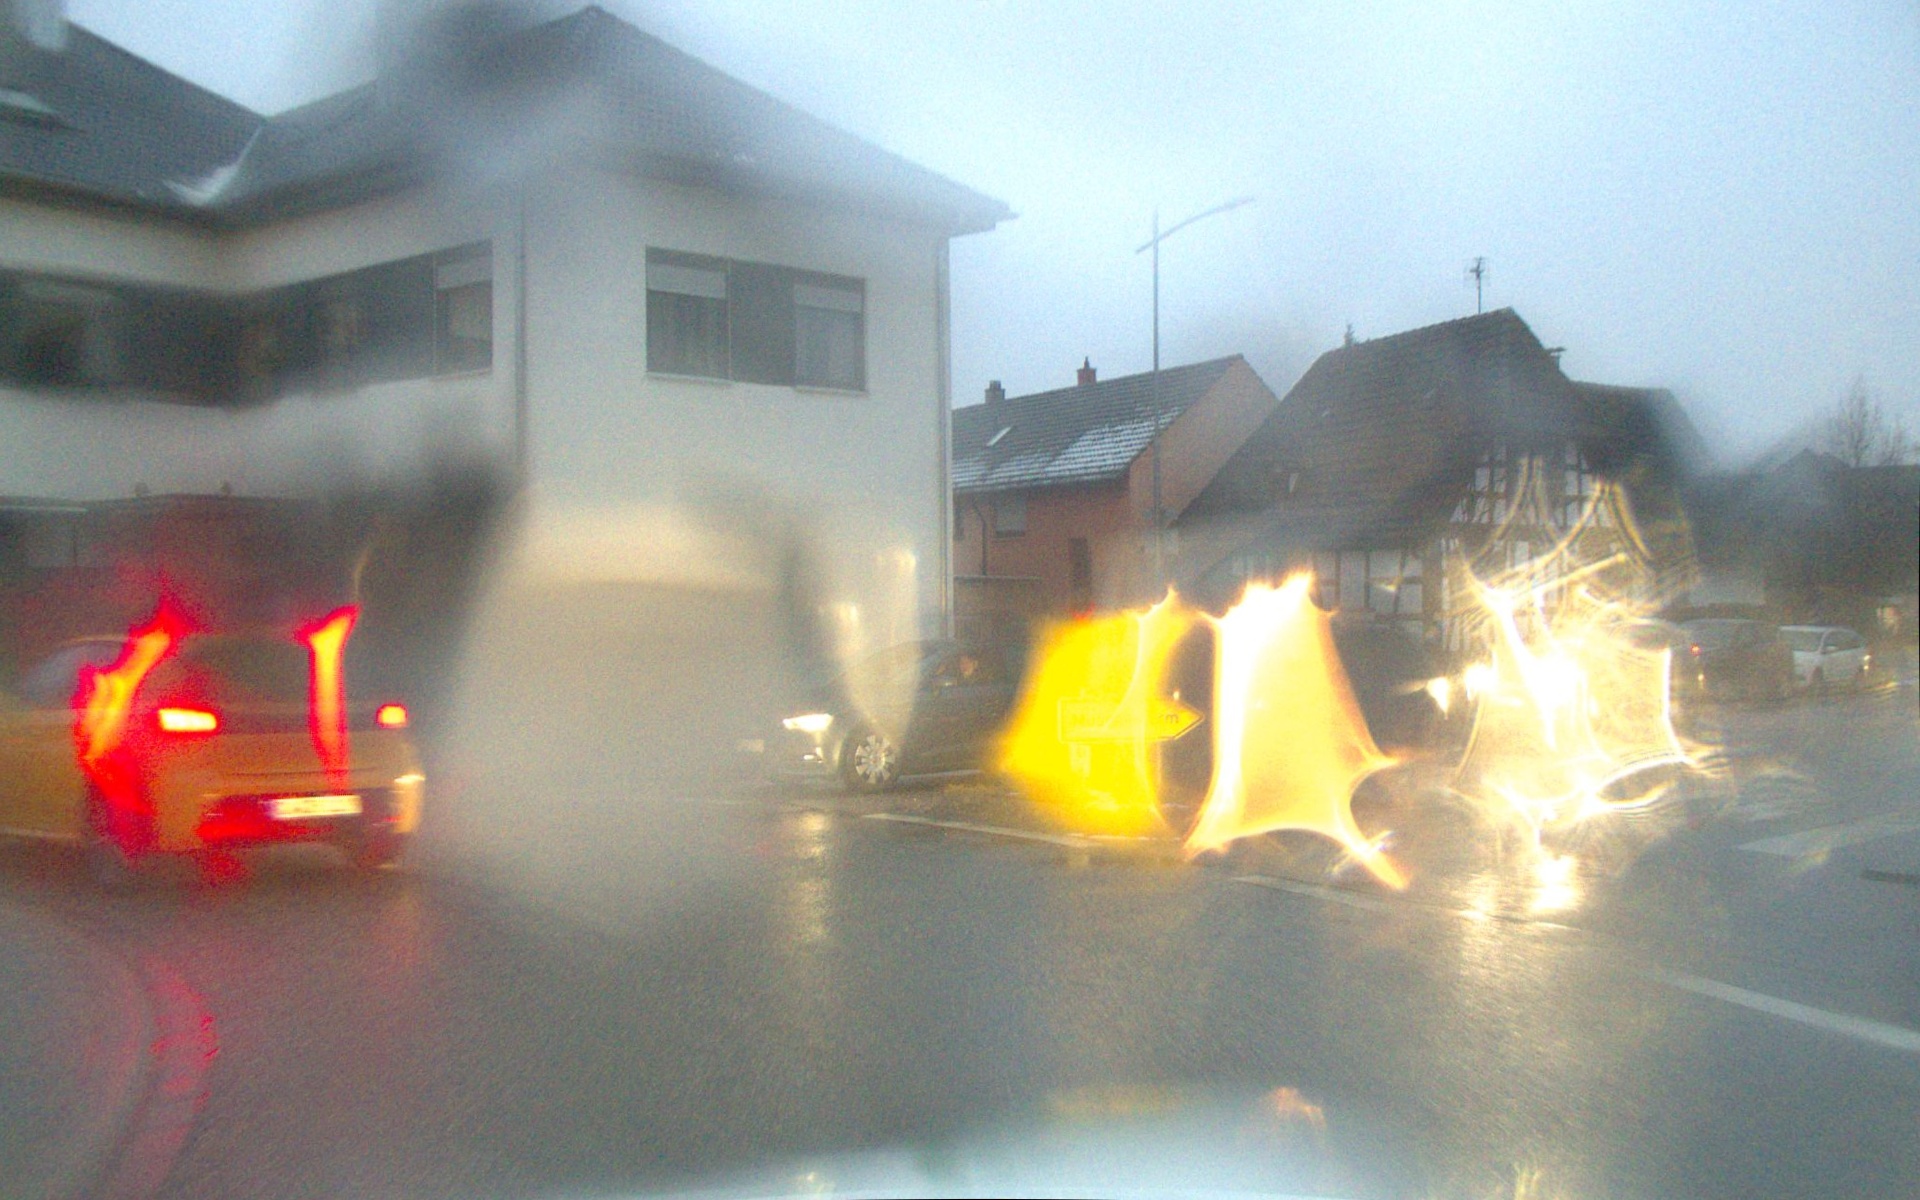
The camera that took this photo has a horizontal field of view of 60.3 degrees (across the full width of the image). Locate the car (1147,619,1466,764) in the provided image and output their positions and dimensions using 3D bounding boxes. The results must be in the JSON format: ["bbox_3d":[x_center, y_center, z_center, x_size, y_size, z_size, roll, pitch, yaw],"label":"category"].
[{"bbox_3d":[4.223,1.031,19.897,3.961,1.579,1.673,1,-2,-39],"label":"car"}]

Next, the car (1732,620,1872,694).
[{"bbox_3d":[19.193,1.257,37.639,3.685,1.577,1.648,0,0,-42],"label":"car"}]

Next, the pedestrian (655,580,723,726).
[{"bbox_3d":[-3.558,0.686,21.712,0.707,1.864,0.632,1,1,-28],"label":"pedestrian"}]

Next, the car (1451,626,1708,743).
[{"bbox_3d":[9.096,1.168,24.143,4.218,1.534,1.672,0,-2,-40],"label":"car"}]

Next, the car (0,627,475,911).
[{"bbox_3d":[-4.890,0.912,10.410,3.940,1.447,1.705,-1,-2,41],"label":"car"}]

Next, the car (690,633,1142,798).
[{"bbox_3d":[-0.368,1.064,16.312,4.189,1.408,1.826,1,-3,-37],"label":"car"}]

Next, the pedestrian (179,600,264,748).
[{"bbox_3d":[-8.134,0.801,18.237,0.676,1.592,0.609,0,0,-6],"label":"pedestrian"}]

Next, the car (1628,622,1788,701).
[{"bbox_3d":[15.432,1.217,34.067,3.677,1.491,1.701,0,0,-42],"label":"car"}]

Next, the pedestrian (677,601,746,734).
[{"bbox_3d":[-3.164,0.844,21.049,0.707,1.649,0.577,1,0,-28],"label":"pedestrian"}]

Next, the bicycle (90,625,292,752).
[{"bbox_3d":[-8.306,0.951,17.911,1.898,1.318,0.551,1,1,-5],"label":"bicycle"}]
